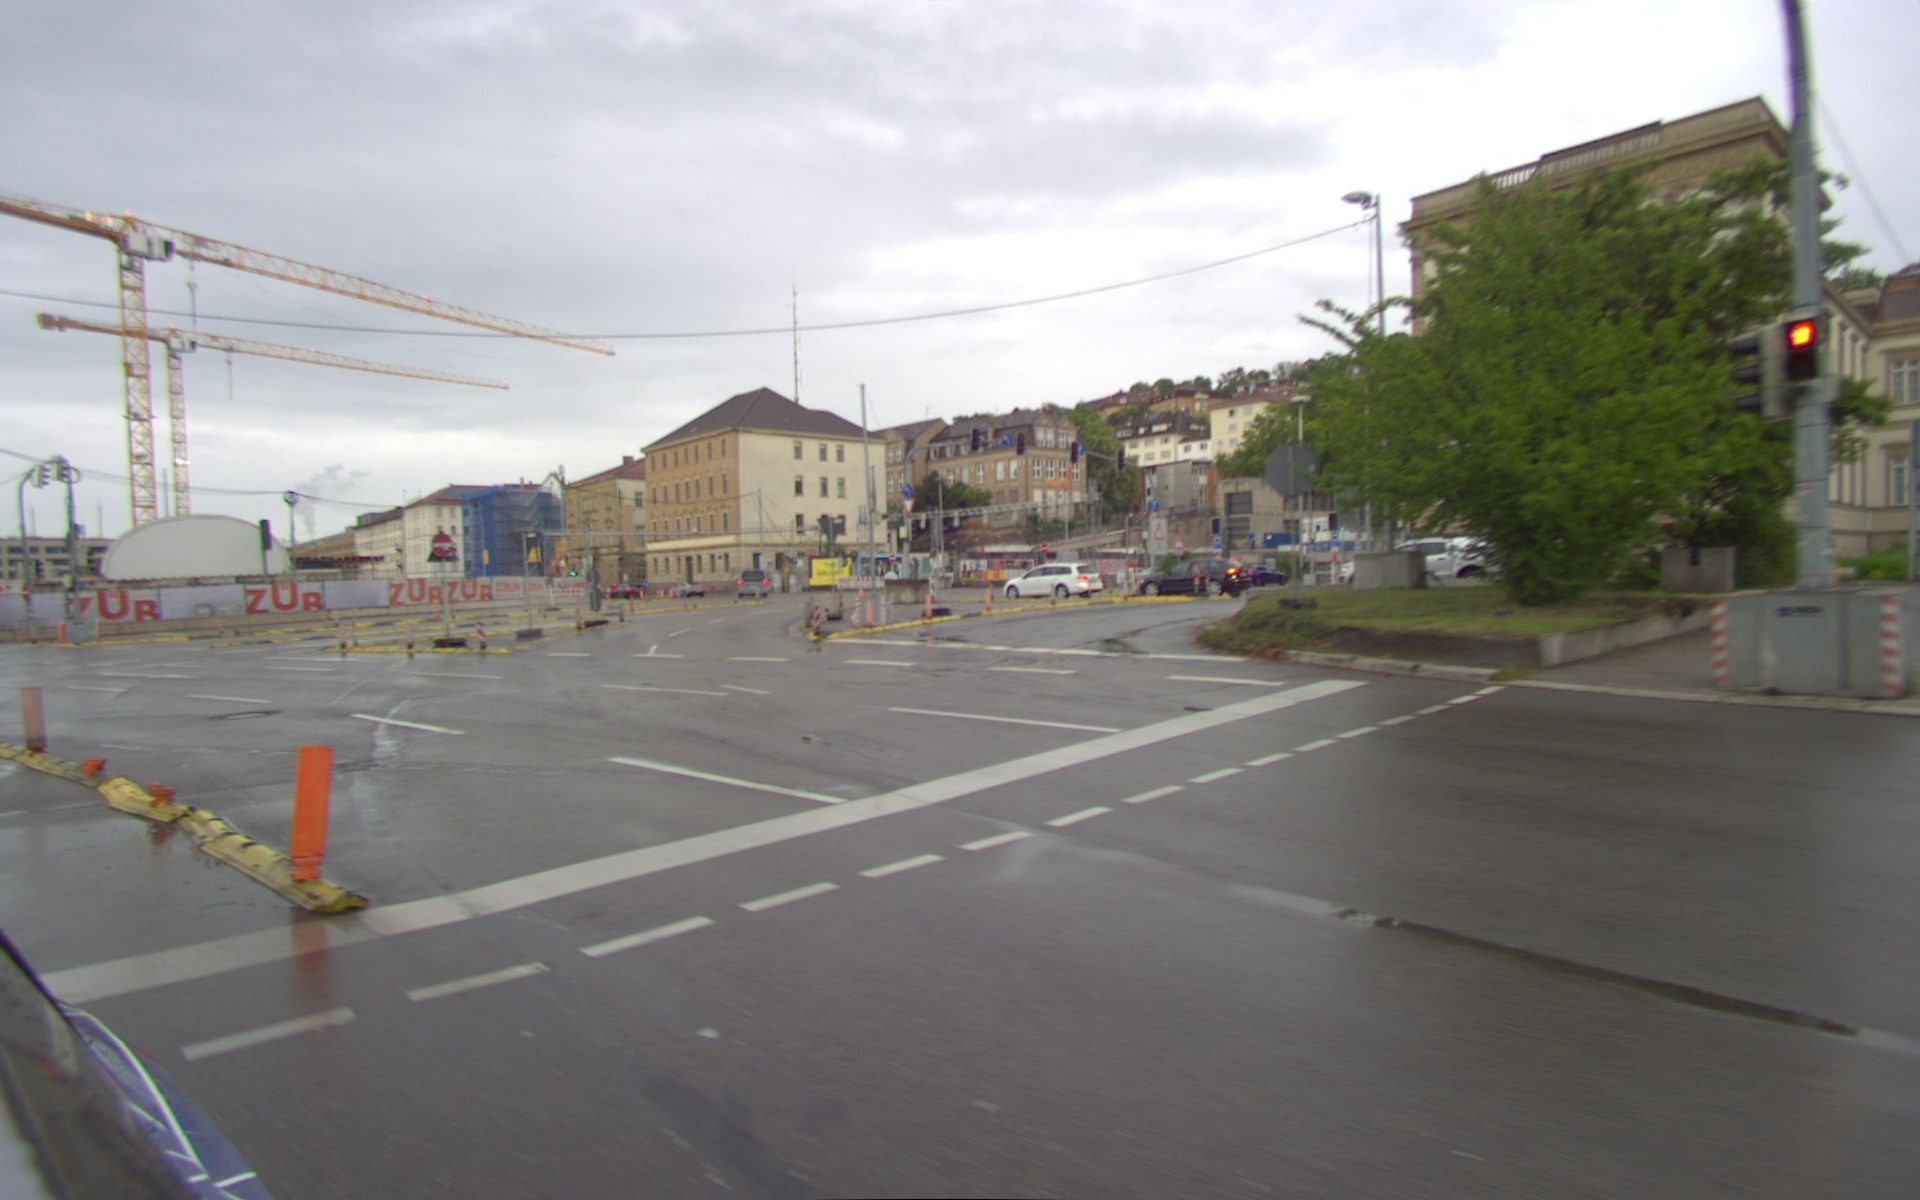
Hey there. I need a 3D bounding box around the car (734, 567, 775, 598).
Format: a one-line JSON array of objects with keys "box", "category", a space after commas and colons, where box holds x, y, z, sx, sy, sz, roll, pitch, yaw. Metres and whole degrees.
[{"box": [-13.614, -1.210, 67.307, 1.970, 1.852, 4.688, -2, 3, -4], "category": "car"}]

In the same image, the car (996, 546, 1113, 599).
[{"box": [3.865, -1.156, 42.060, 1.971, 2.028, 4.645, -6, 5, -44], "category": "car"}]

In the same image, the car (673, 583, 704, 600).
[{"box": [-24.974, -0.799, 93.048, 1.557, 1.357, 3.818, -4, 5, -33], "category": "car"}]

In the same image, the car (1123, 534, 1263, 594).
[{"box": [8.540, -1.324, 37.344, 1.971, 2.028, 4.694, -6, 5, -44], "category": "car"}]

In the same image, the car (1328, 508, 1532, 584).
[{"box": [15.019, -1.719, 32.445, 5.666, 2.189, 2.345, 0, 4, 34], "category": "car"}]

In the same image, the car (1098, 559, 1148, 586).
[{"box": [13.721, -2.308, 85.080, 3.936, 2.028, 2.005, -5, 5, -37], "category": "car"}]
